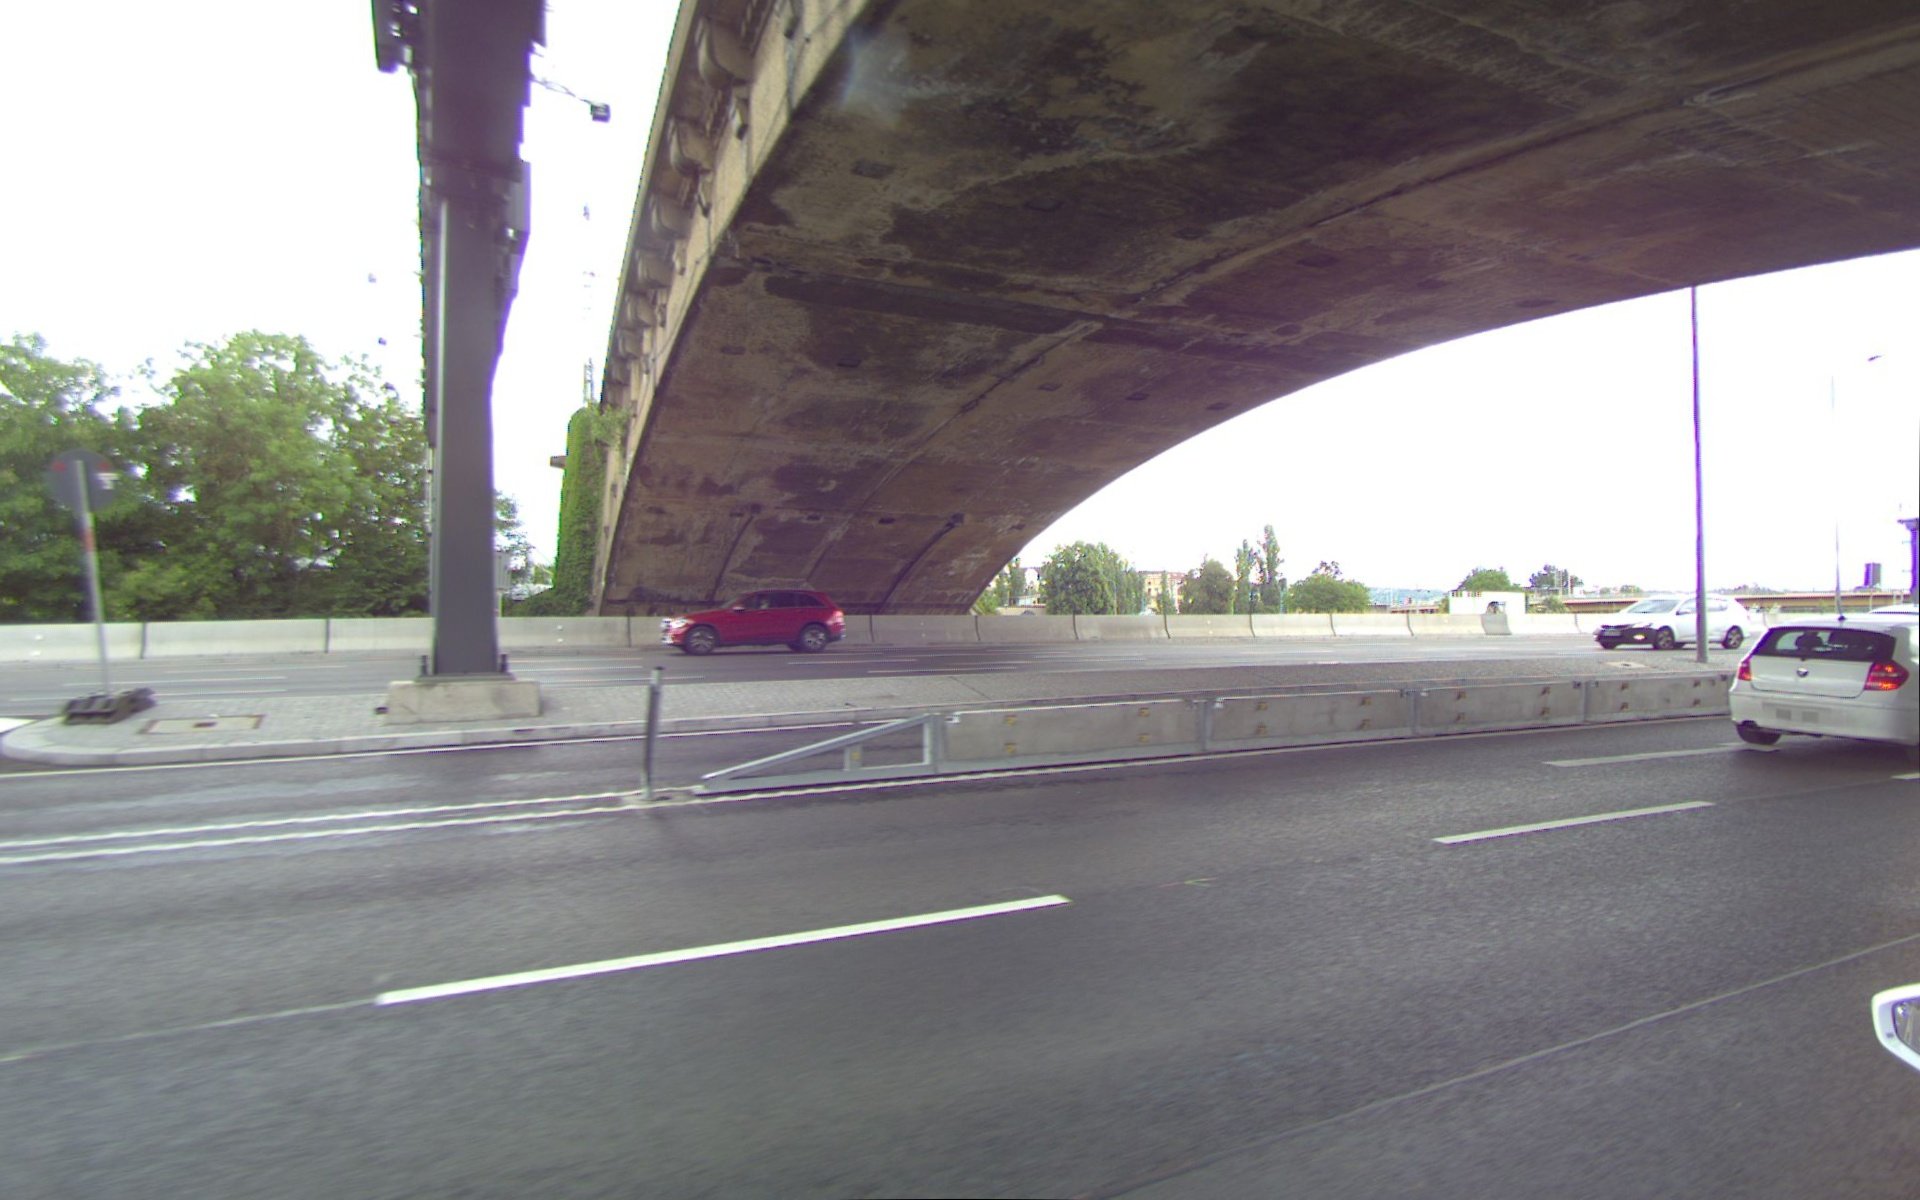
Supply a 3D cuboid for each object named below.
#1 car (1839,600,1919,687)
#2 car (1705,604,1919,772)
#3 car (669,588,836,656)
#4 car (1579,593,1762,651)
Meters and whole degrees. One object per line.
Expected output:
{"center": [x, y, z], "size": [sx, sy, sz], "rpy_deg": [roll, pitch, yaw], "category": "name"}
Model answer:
{"center": [18.264, 0.783, 18.381], "size": [3.936, 1.504, 1.574], "rpy_deg": [1, 0, -20], "category": "car"}
{"center": [10.018, 0.807, 10.698], "size": [3.926, 1.452, 1.634], "rpy_deg": [-1, 2, -24], "category": "car"}
{"center": [-5.306, 0.552, 25.731], "size": [3.940, 1.638, 1.694], "rpy_deg": [1, -1, -24], "category": "car"}
{"center": [19.891, 0.586, 28.137], "size": [4.469, 1.506, 1.855], "rpy_deg": [0, 0, -17], "category": "car"}
